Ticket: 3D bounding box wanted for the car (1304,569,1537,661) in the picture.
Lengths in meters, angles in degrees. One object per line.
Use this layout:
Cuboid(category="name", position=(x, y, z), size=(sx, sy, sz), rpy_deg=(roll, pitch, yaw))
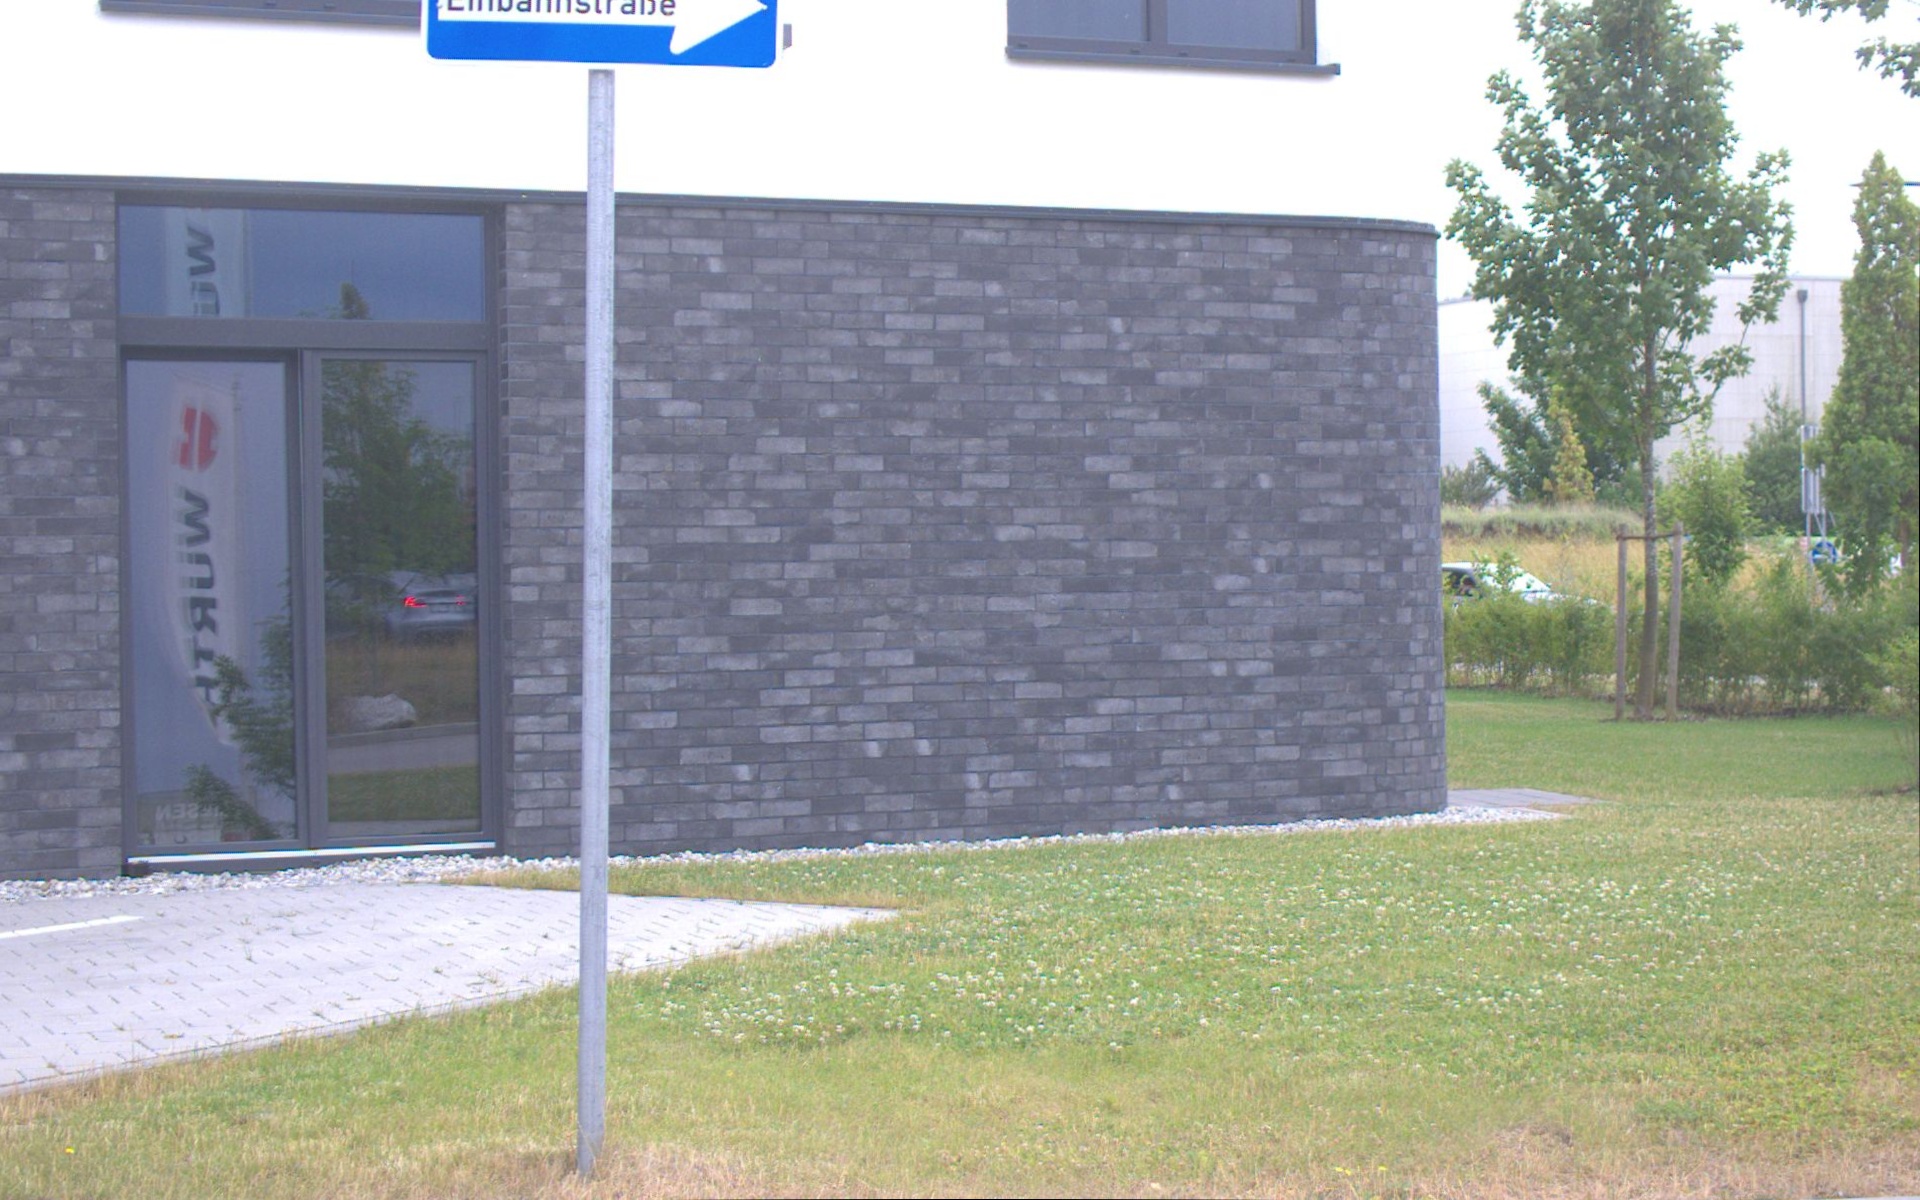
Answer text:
Cuboid(category="car", position=(7.283, 0.209, 54.770), size=(1.753, 1.382, 4.302), rpy_deg=(-1, 1, -22))
